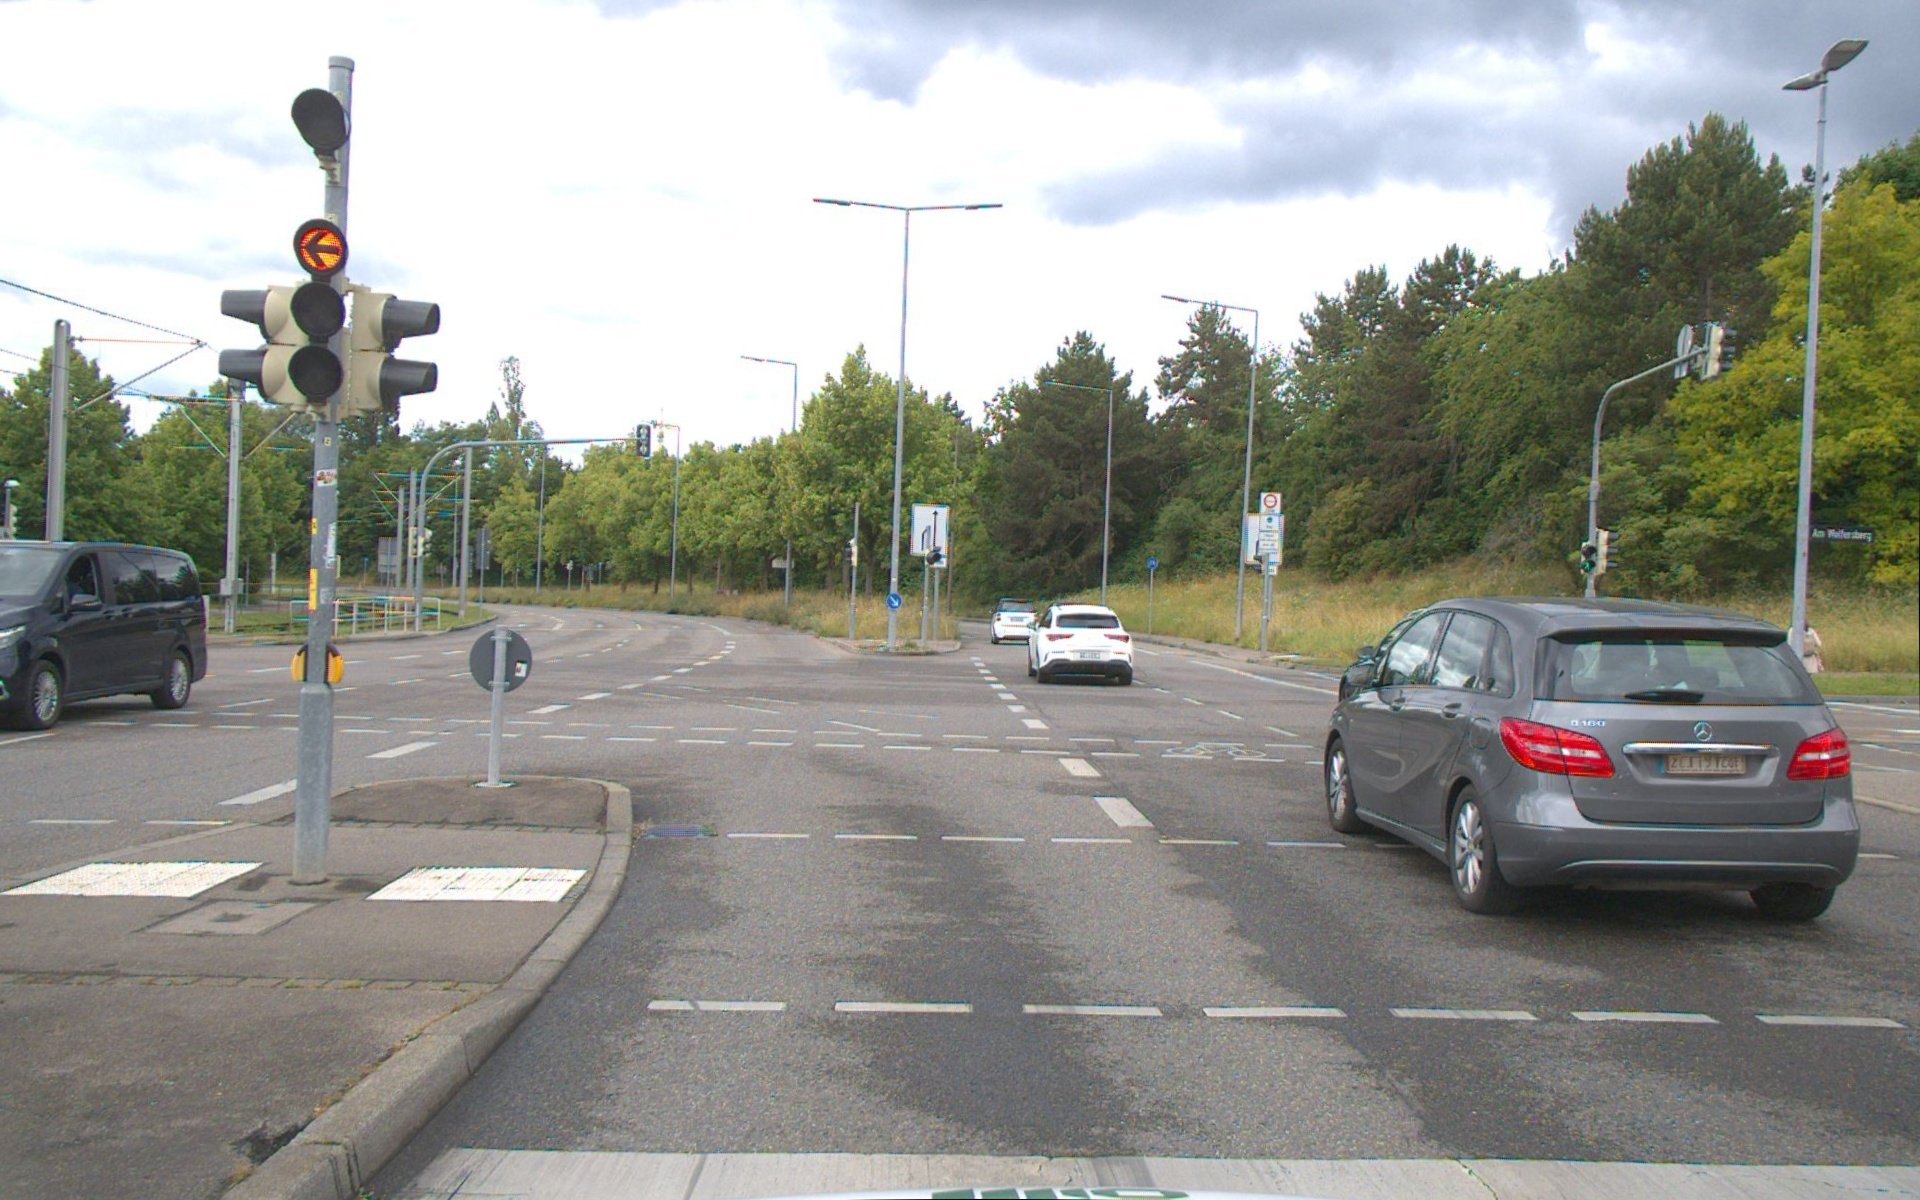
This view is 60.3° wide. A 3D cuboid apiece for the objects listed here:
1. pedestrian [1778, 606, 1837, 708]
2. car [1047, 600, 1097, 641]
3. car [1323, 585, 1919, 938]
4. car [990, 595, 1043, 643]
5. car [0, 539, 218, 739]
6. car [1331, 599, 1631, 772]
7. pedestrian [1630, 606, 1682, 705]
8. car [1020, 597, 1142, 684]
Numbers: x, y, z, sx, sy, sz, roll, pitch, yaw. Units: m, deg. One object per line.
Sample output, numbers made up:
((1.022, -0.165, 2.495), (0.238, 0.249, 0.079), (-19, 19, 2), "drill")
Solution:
((13.928, 0.920, 27.200), (0.630, 1.640, 0.714), (1, -1, 5), "pedestrian")
((4.218, 0.757, 62.610), (1.580, 1.479, 3.881), (1, 0, -1), "car")
((3.366, 0.712, 9.300), (1.711, 1.534, 3.999), (1, 0, -1), "car")
((1.899, 0.635, 56.103), (1.560, 1.543, 2.765), (1, 0, -2), "car")
((-9.821, 0.348, 17.729), (1.851, 1.844, 5.086), (0, 0, -5), "car")
((5.303, 0.791, 17.457), (1.711, 1.511, 4.355), (1, 1, -1), "car")
((12.068, 0.950, 28.695), (0.630, 1.691, 0.714), (1, -1, 6), "pedestrian")
((2.258, 0.732, 31.983), (1.807, 1.533, 4.528), (1, 0, -3), "car")
